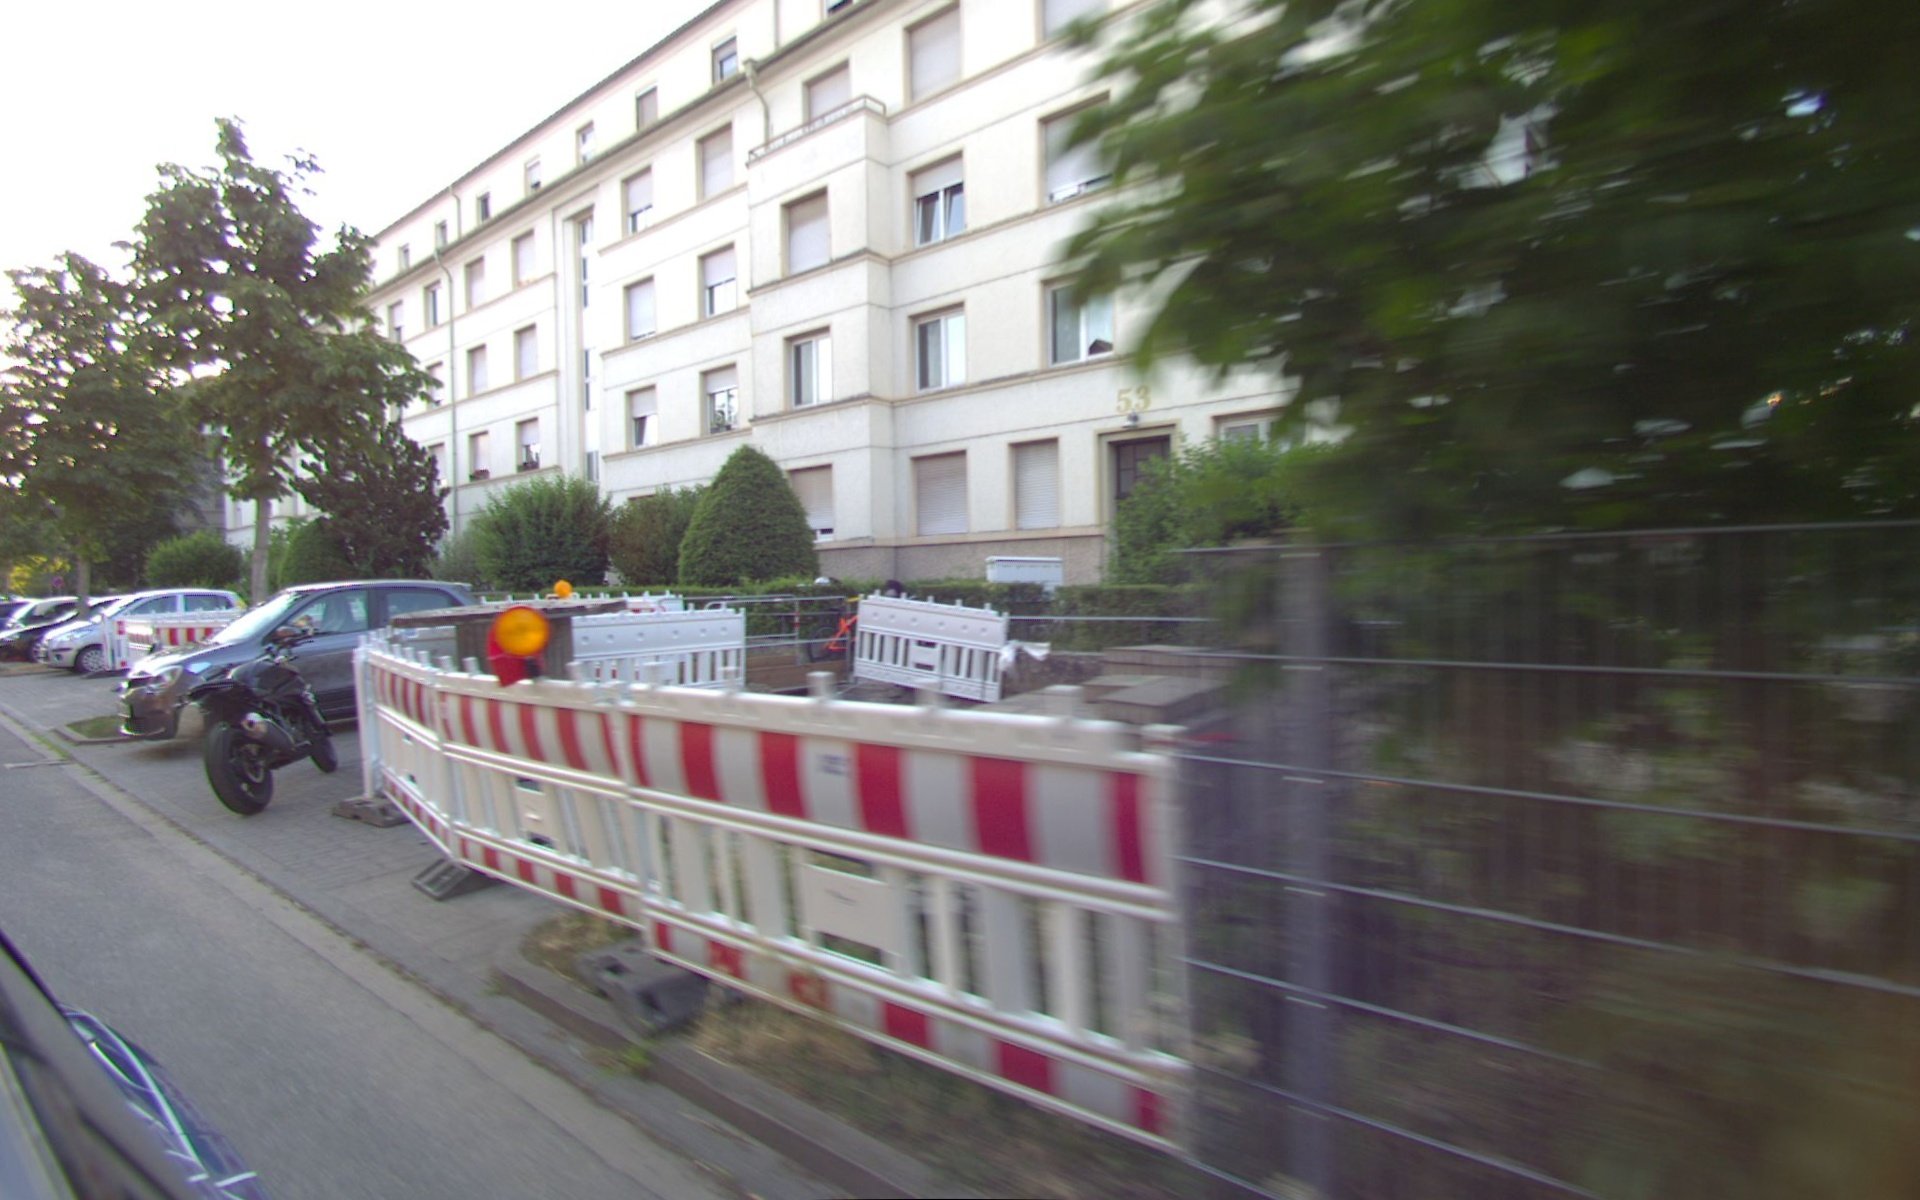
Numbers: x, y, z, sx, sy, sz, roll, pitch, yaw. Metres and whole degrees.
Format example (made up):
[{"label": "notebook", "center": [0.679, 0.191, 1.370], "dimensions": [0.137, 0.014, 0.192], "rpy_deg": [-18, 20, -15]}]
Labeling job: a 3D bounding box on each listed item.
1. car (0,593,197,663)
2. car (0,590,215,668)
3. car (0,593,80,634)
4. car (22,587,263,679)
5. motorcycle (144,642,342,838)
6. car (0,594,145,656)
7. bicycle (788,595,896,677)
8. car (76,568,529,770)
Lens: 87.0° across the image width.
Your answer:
[{"label": "car", "center": [-21.612, 0.637, 25.408], "dimensions": [1.728, 1.495, 3.638], "rpy_deg": [1, 3, 42]}, {"label": "car", "center": [-19.650, 0.595, 23.136], "dimensions": [1.728, 1.500, 3.934], "rpy_deg": [1, 3, 43]}, {"label": "car", "center": [-37.777, 0.570, 40.458], "dimensions": [1.726, 1.495, 3.663], "rpy_deg": [-1, 2, 39]}, {"label": "car", "center": [-16.474, 0.583, 20.522], "dimensions": [1.725, 1.577, 3.443], "rpy_deg": [0, 3, 36]}, {"label": "motorcycle", "center": [-5.109, 0.915, 7.374], "dimensions": [0.530, 1.028, 2.219], "rpy_deg": [-4, 3, -19]}, {"label": "car", "center": [-23.962, 0.629, 26.663], "dimensions": [1.728, 1.456, 3.638], "rpy_deg": [1, 3, 43]}, {"label": "bicycle", "center": [-1.559, 0.460, 13.543], "dimensions": [1.508, 1.008, 0.369], "rpy_deg": [-2, 1, -45]}, {"label": "car", "center": [-6.696, 0.556, 10.592], "dimensions": [1.692, 1.568, 3.587], "rpy_deg": [-1, 4, 41]}]
